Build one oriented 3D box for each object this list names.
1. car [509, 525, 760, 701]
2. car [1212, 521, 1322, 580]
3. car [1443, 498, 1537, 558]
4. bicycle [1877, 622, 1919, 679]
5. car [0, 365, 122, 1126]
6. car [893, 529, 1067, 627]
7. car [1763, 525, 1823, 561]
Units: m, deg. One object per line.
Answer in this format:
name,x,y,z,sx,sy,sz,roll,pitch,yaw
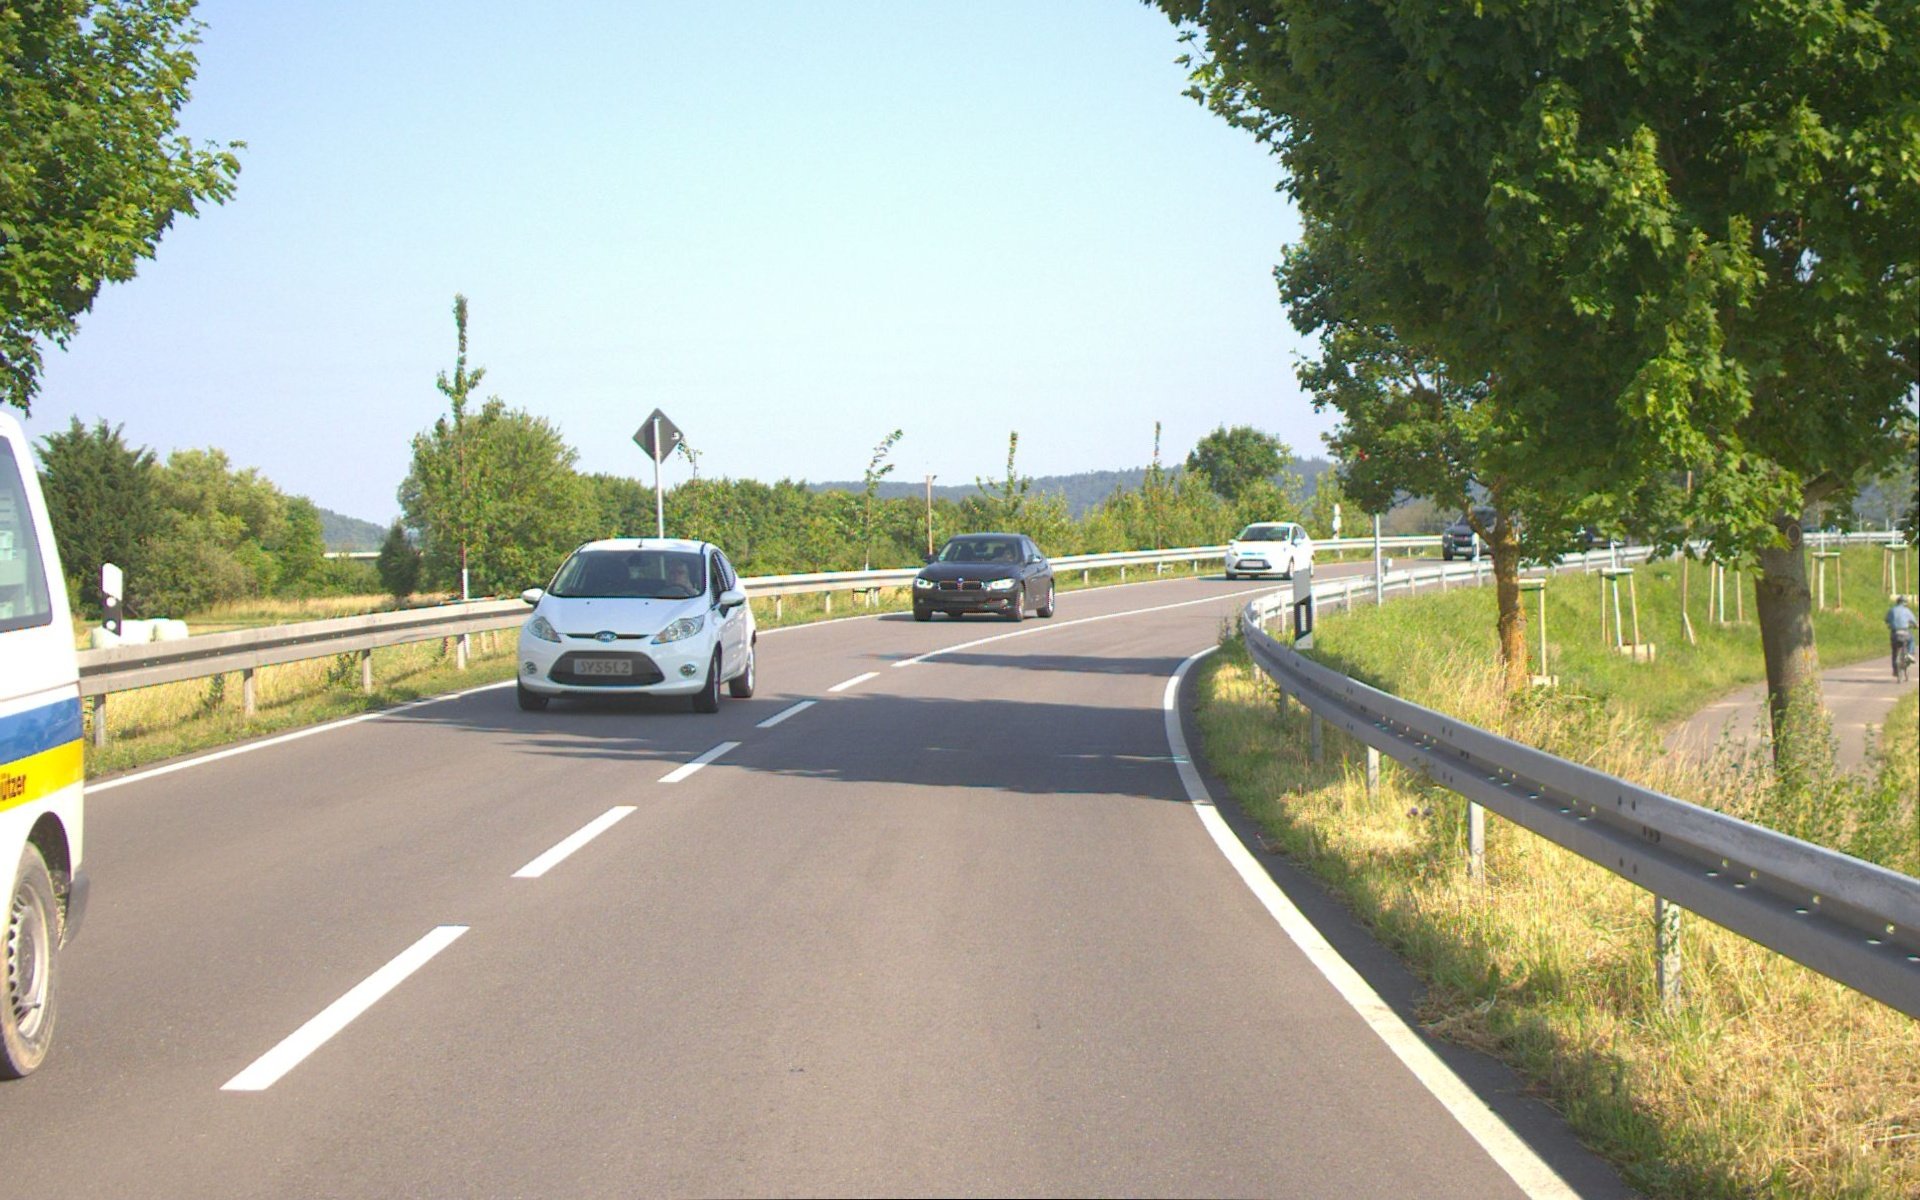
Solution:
car,-2.796,0.119,30.262,1.751,1.424,3.846,1,0,1
car,7.932,-1.267,88.432,1.855,1.444,4.150,1,1,19
car,17.202,-2.313,111.470,1.884,1.792,5.085,1,0,22
bicycle,18.452,0.985,67.280,0.758,1.030,1.927,0,2,21
car,-3.471,0.376,8.029,1.912,2.007,4.783,0,0,-1
car,0.383,-0.336,57.122,1.839,1.539,4.241,1,0,15
car,38.634,-2.651,159.439,1.797,1.443,4.700,1,4,25
